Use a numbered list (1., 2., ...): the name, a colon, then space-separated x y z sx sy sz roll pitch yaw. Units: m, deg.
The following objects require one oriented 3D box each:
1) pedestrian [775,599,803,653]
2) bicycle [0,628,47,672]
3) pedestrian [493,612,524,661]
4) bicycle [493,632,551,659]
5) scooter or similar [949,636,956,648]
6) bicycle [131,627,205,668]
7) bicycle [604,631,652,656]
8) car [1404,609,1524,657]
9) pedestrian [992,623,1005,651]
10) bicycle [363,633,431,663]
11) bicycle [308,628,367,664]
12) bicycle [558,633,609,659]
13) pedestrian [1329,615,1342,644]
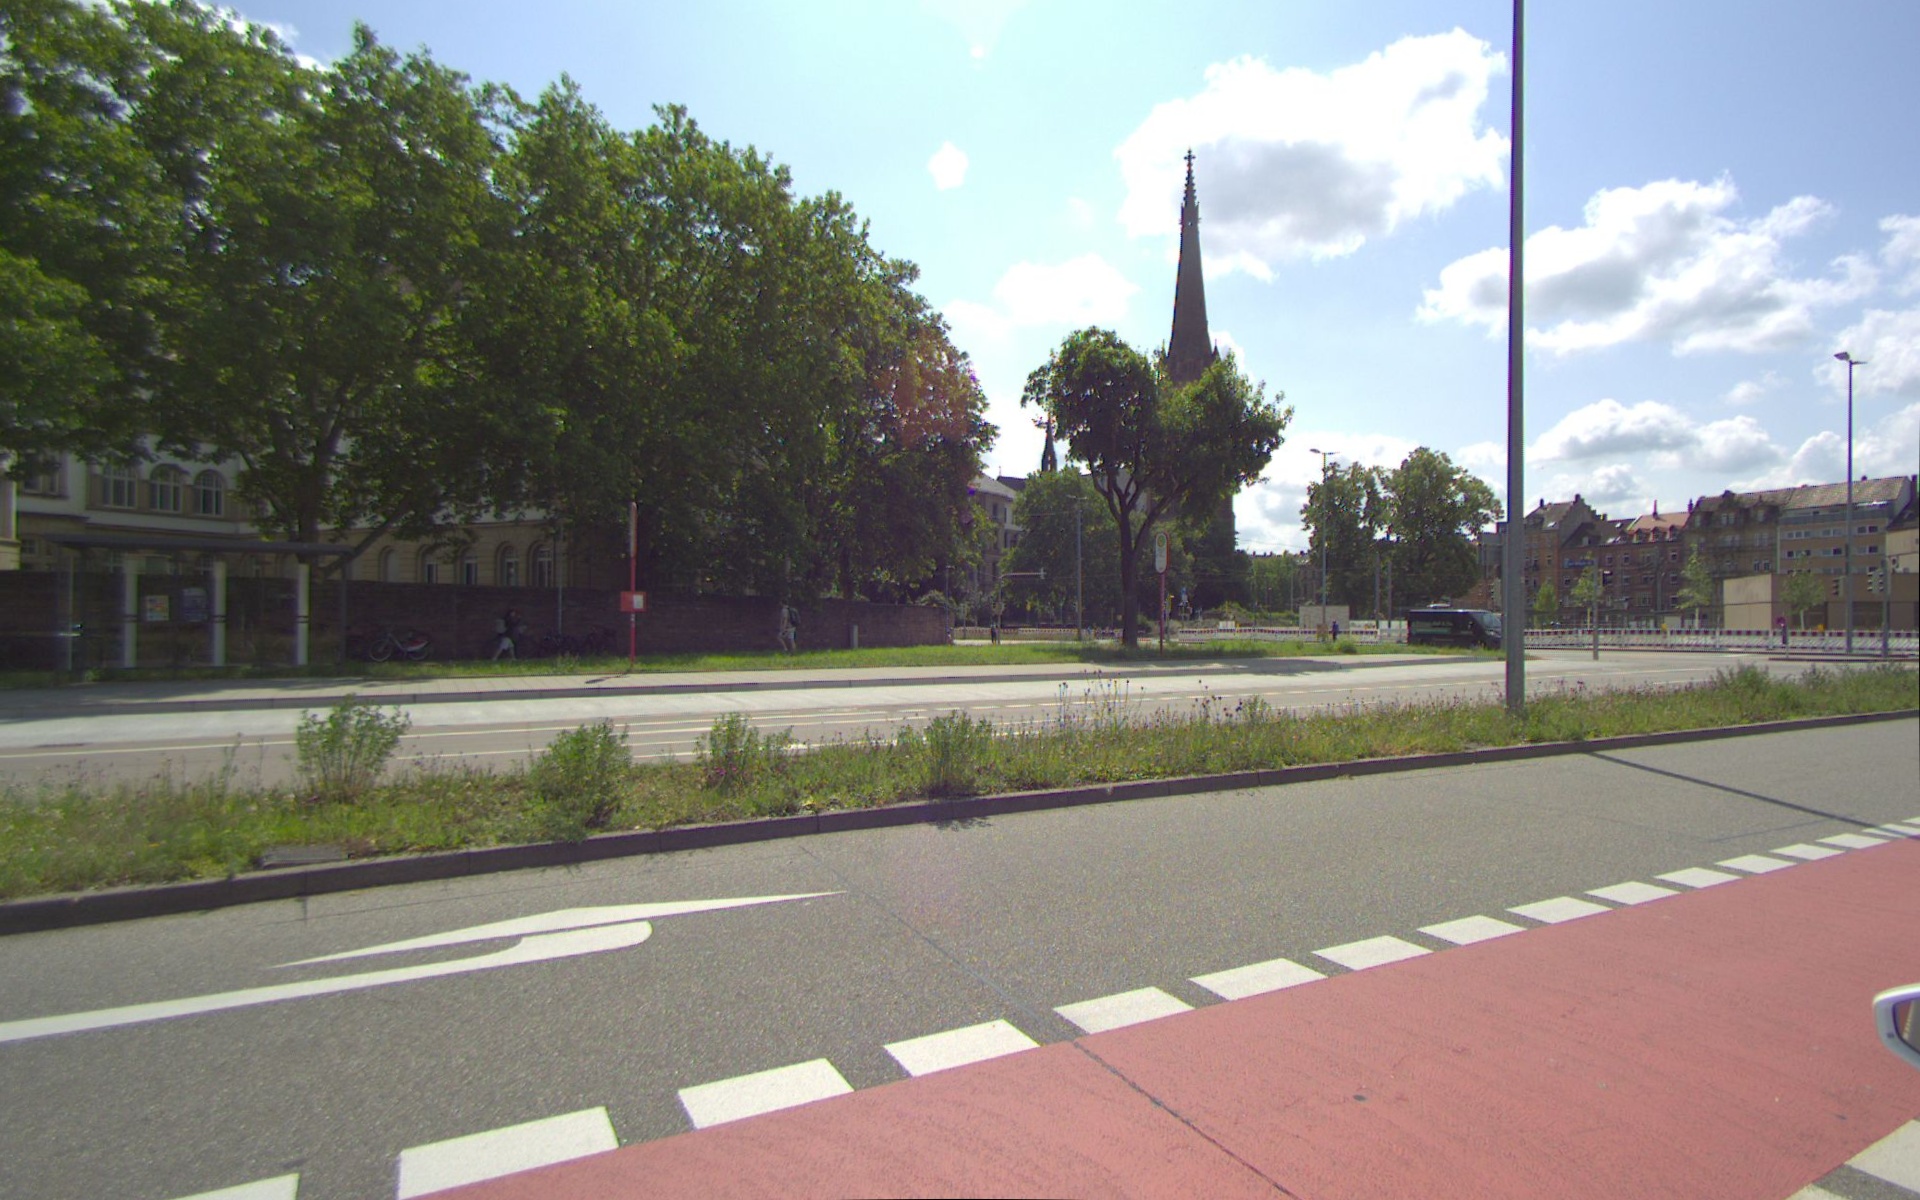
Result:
1. pedestrian: -4.844 0.727 28.409 0.627 1.492 0.506 1 -1 -32
2. bicycle: -21.258 1.113 22.323 0.260 0.977 1.391 0 -1 36
3. pedestrian: -13.372 1.070 29.759 0.720 1.413 0.714 1 -1 -35
4. bicycle: -14.020 1.459 32.198 0.378 0.828 1.743 0 -1 36
5. scooter or similar: -0.437 2.472 58.981 0.117 0.721 1.005 0 -1 17
6. bicycle: -19.418 1.154 24.644 0.260 0.977 1.391 0 -1 36
7. bicycle: -11.776 1.531 35.680 0.324 0.828 1.743 0 -1 36
8. car: 24.662 1.582 49.342 2.129 2.204 4.979 1 -1 -30
9. pedestrian: 2.867 2.753 74.738 0.713 2.040 0.721 1 -1 -32
10. bicycle: -16.240 1.376 29.012 0.324 0.828 1.743 0 -1 36
11. bicycle: -17.160 1.262 27.715 0.260 0.977 1.391 0 -1 36
12. bicycle: -12.780 1.547 34.153 0.324 0.828 1.743 0 -1 36
13. pedestrian: 26.105 2.050 69.804 0.625 2.040 0.643 1 -1 -32
